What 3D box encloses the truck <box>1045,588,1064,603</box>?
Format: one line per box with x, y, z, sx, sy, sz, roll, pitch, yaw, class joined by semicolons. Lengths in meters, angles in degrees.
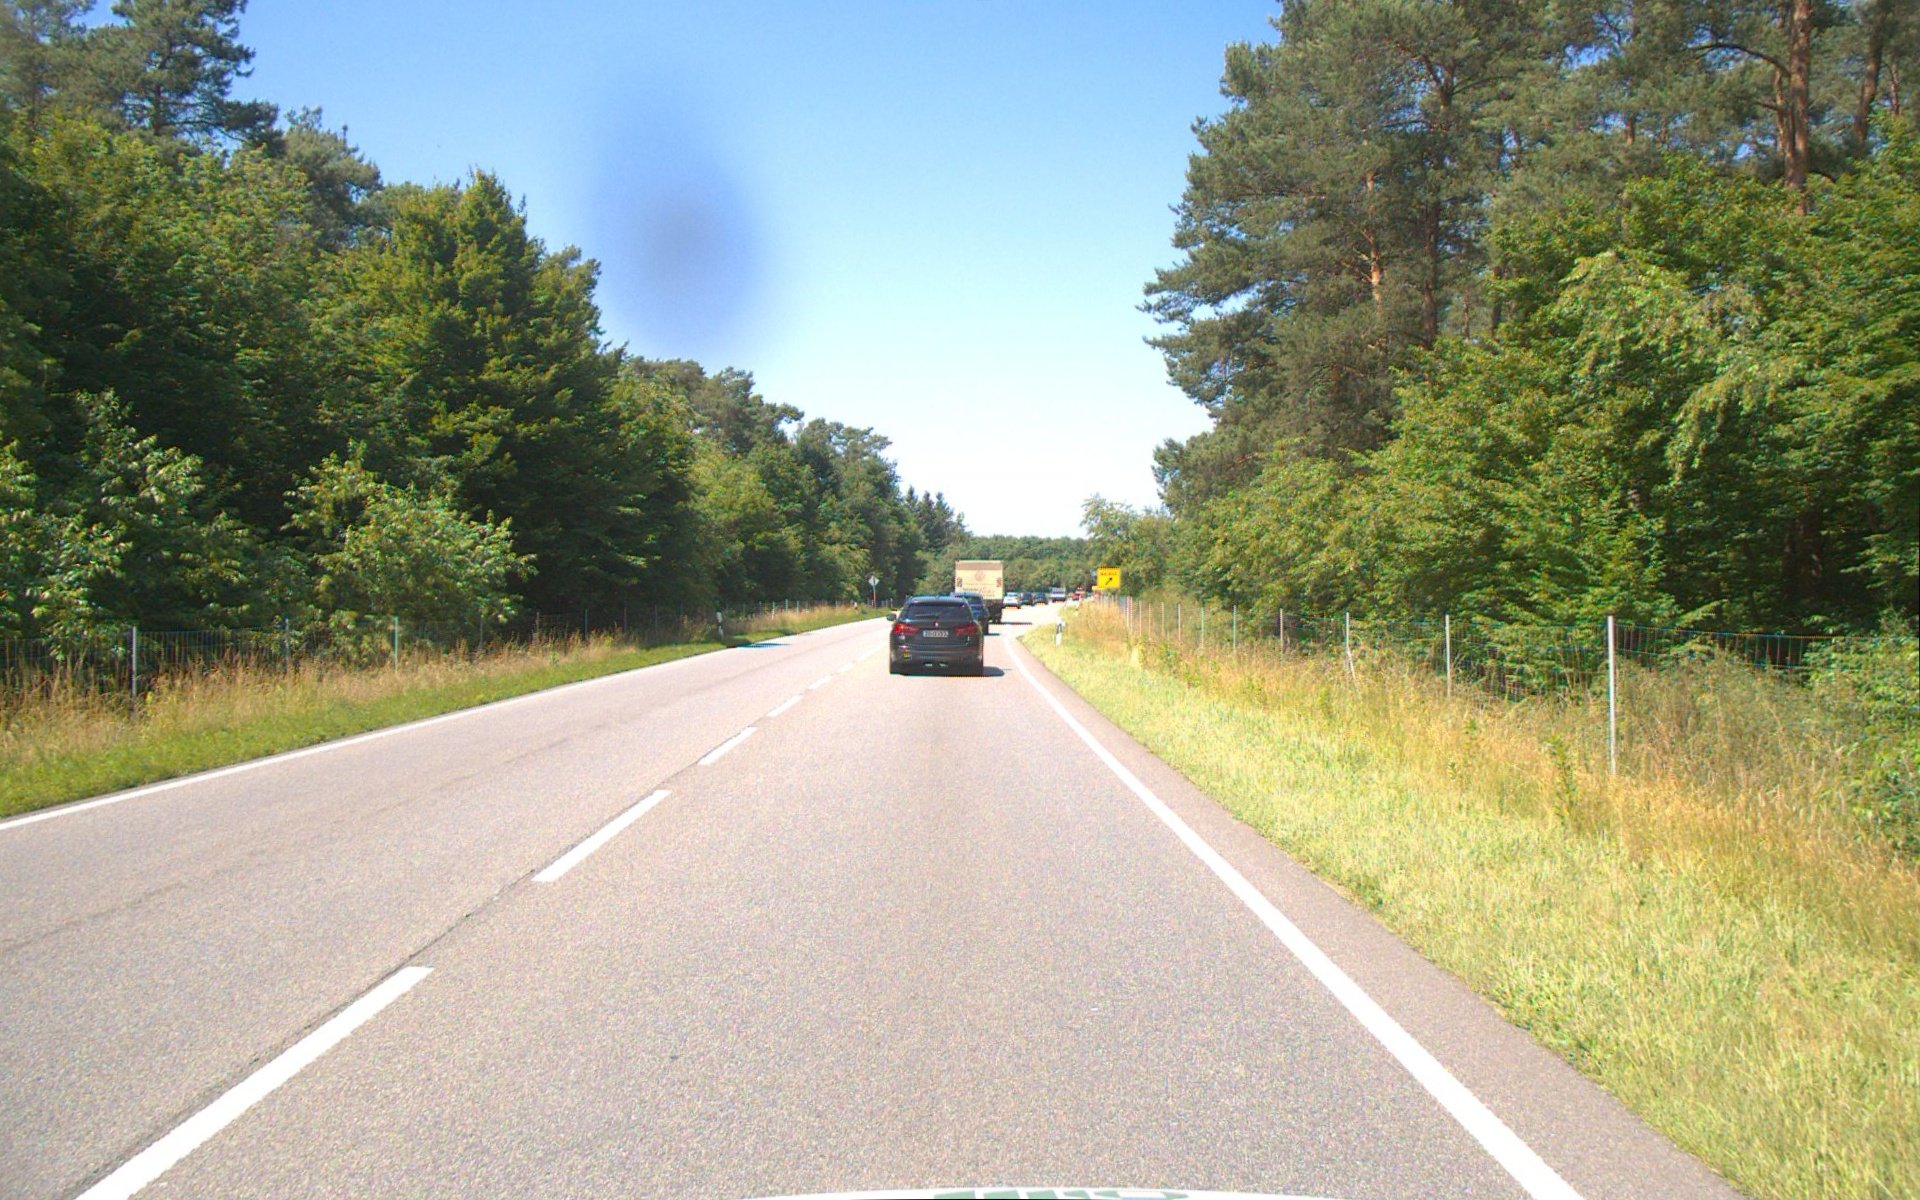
14.512;-0.653;255.254;2.512;2.241;4.972;-1;0;-1;truck

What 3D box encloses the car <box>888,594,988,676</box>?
-0.493;0.645;32.751;1.784;1.496;3.997;-1;0;-3;car

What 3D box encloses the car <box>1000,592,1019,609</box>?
5.161;0.046;171.465;1.825;1.633;3.999;-1;0;-1;car

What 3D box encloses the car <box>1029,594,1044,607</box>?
10.400;0.057;224.629;1.952;1.665;4.001;-1;0;2;car

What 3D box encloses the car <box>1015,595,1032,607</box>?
7.806;0.105;202.394;1.952;1.445;4.002;1;0;3;car

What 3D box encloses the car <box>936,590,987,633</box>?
0.058;0.418;64.774;1.907;1.568;4.000;-1;0;0;car

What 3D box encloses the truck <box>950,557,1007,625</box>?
0.956;-0.484;88.239;2.905;3.447;6.438;0;0;0;truck
